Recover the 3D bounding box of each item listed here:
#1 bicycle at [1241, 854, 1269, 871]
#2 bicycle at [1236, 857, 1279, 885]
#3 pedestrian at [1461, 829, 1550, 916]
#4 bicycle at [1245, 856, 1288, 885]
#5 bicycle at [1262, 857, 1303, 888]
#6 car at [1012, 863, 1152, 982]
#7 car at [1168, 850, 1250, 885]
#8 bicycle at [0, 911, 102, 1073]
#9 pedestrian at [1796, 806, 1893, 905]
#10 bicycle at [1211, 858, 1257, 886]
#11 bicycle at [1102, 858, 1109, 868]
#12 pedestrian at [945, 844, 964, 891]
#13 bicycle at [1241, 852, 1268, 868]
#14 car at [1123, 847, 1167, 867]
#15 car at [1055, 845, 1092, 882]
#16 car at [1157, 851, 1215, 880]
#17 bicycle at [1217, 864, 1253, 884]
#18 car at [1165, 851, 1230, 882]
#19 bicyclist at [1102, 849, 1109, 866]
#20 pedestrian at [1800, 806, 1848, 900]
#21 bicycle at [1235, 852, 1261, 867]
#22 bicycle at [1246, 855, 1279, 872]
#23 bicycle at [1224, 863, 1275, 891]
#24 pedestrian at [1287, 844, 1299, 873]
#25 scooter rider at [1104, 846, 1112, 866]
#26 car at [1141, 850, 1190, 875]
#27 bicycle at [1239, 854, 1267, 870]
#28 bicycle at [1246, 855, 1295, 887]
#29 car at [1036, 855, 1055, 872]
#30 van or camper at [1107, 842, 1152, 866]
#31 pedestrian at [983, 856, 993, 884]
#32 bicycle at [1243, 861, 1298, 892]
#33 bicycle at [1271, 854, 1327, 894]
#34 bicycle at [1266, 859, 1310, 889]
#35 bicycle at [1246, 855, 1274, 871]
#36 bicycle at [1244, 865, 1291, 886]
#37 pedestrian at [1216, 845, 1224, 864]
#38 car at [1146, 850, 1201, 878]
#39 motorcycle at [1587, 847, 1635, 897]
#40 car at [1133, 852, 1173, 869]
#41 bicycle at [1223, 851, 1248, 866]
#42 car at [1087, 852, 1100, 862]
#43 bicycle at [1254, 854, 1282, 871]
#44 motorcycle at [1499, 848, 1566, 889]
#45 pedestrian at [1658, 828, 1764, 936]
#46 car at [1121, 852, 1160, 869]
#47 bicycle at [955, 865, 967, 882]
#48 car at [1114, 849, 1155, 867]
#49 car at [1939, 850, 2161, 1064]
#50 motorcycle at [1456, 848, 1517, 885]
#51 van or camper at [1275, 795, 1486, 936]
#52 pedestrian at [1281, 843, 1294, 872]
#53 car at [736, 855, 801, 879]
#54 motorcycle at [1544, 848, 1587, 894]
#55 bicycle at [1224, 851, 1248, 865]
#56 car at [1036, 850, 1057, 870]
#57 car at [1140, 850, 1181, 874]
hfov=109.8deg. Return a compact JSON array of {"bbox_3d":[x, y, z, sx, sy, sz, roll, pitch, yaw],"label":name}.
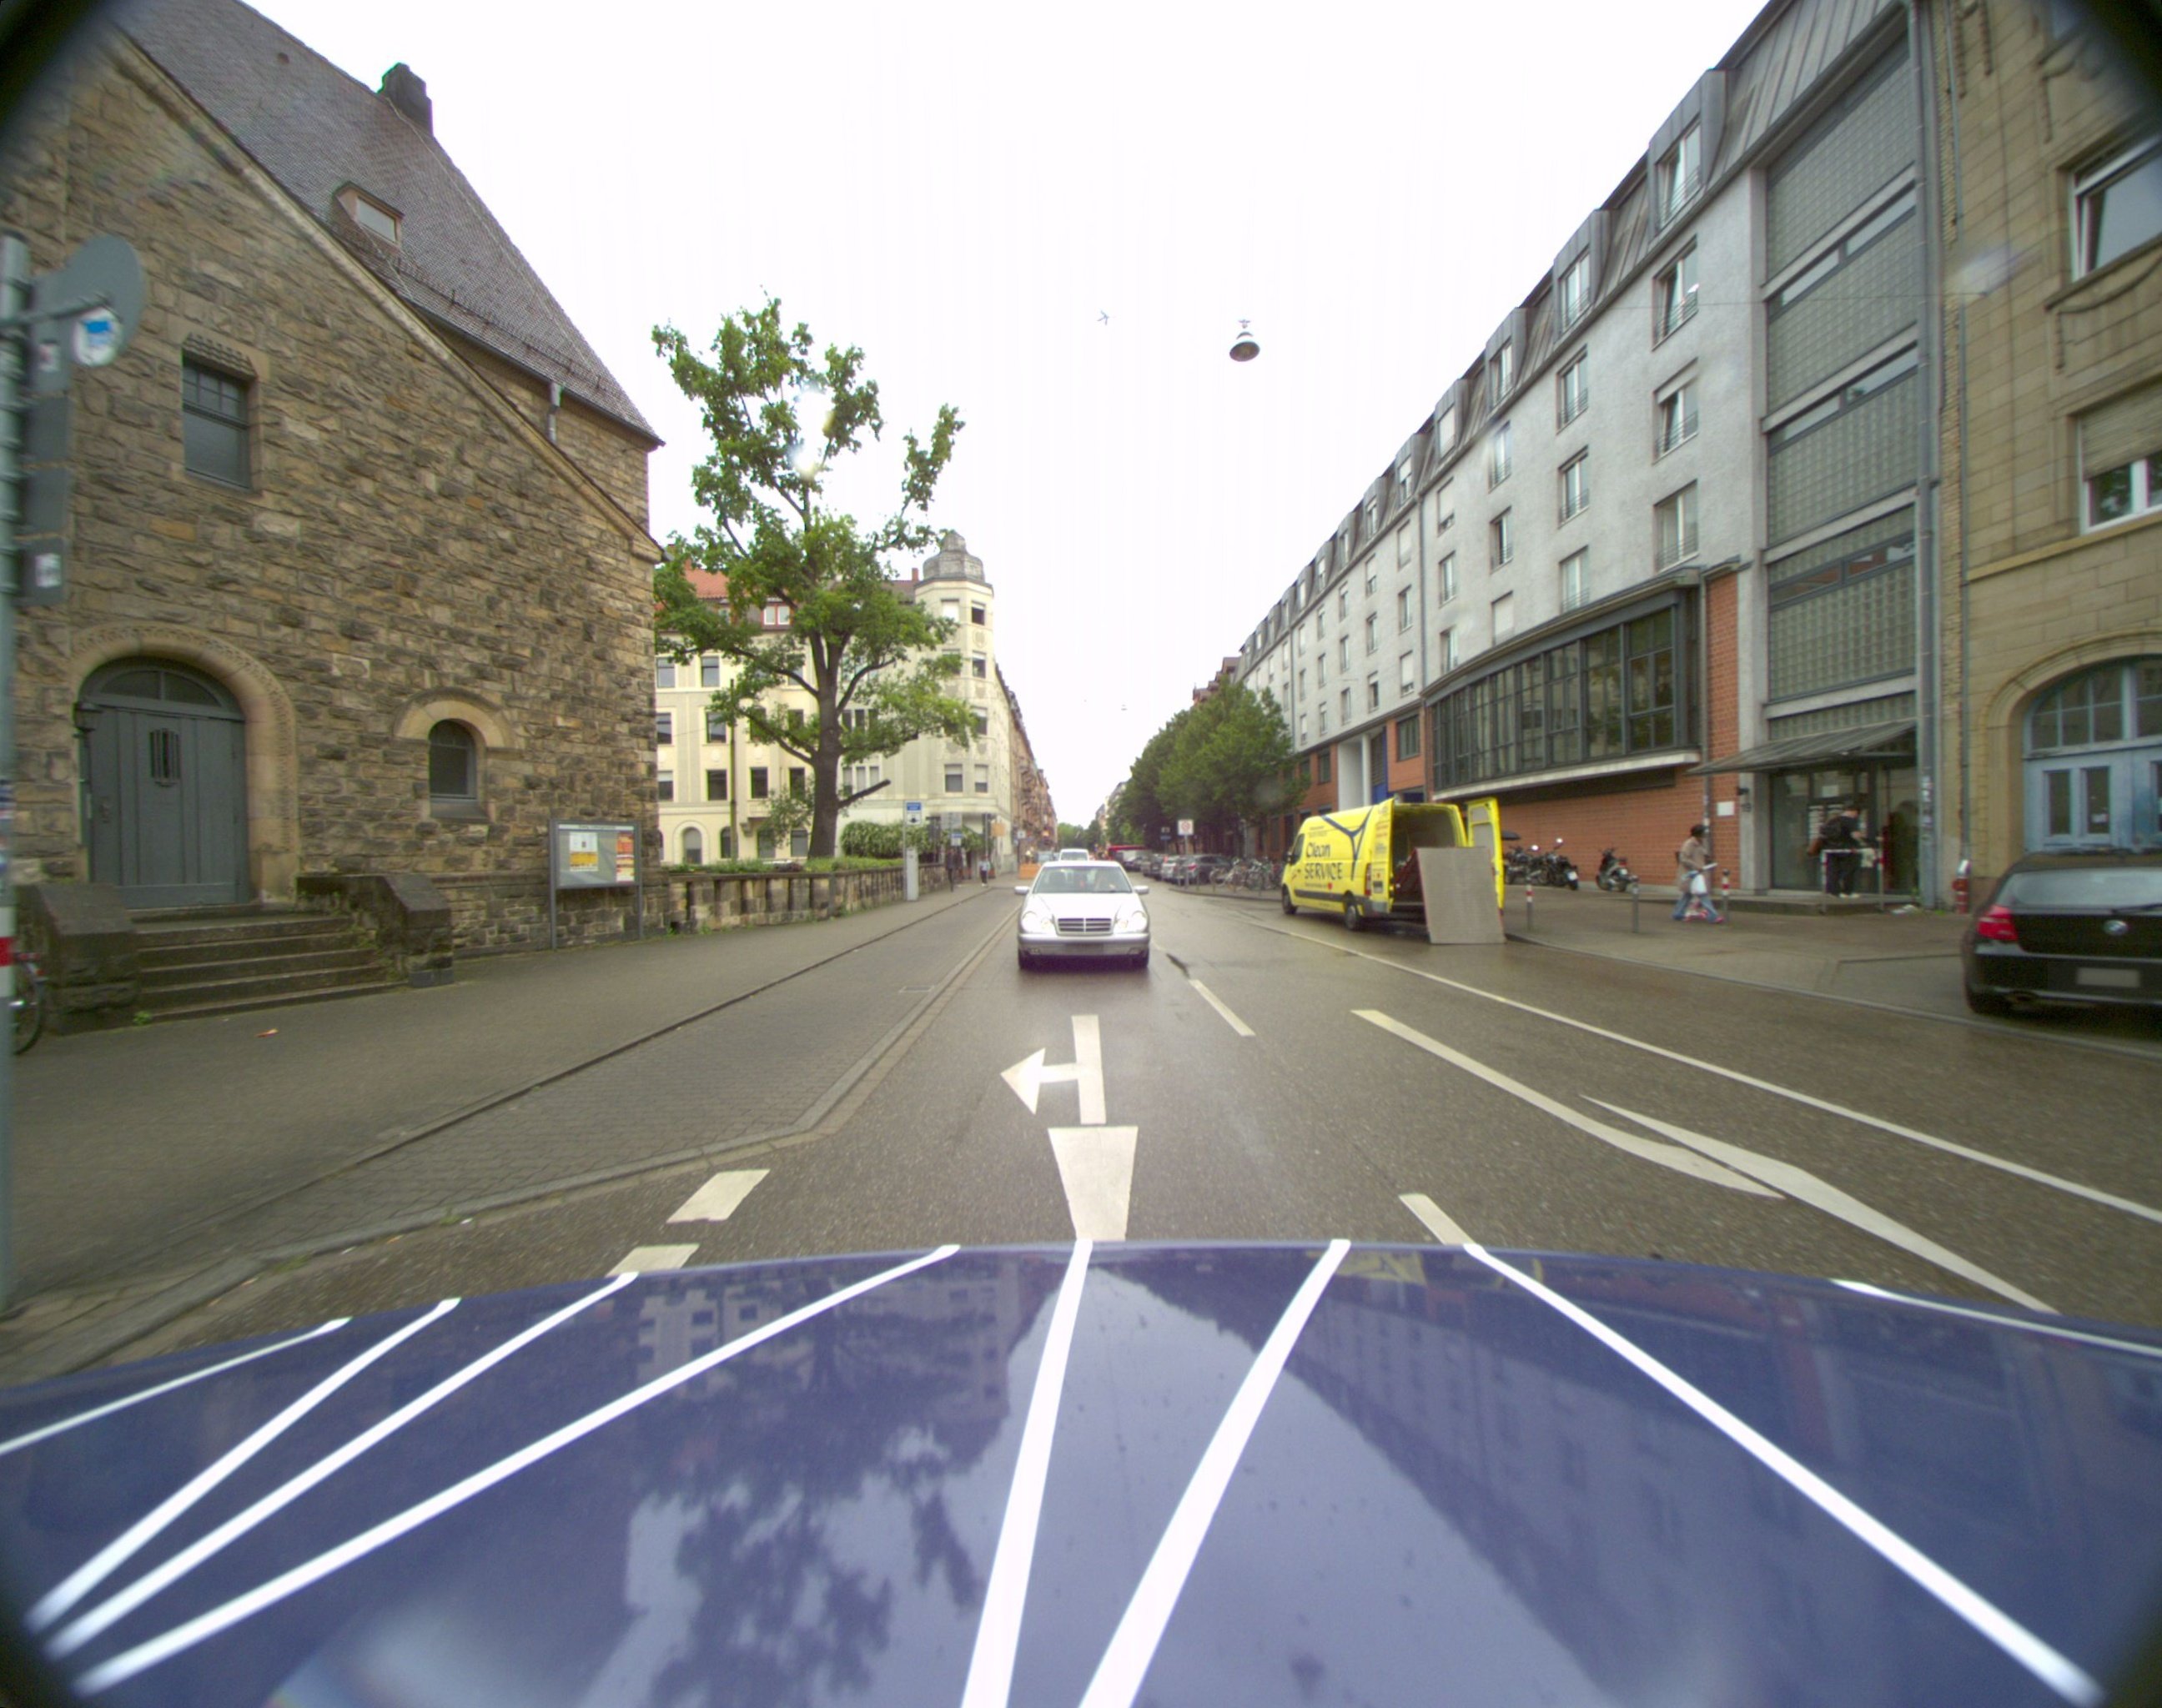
[{"bbox_3d":[10.668,0.518,46.551,1.590,0.979,0.445,-1,1,-8],"label":"bicycle"},{"bbox_3d":[7.374,0.717,31.765,1.610,1.099,0.520,-2,1,-4],"label":"bicycle"},{"bbox_3d":[9.510,0.396,17.085,1.353,1.835,1.061,-2,1,0],"label":"pedestrian"},{"bbox_3d":[7.582,0.677,31.122,1.611,1.099,0.519,-2,1,-13],"label":"bicycle"},{"bbox_3d":[7.675,0.704,29.018,1.461,1.096,0.462,-2,1,14],"label":"bicycle"},{"bbox_3d":[0.018,0.892,11.667,1.764,1.420,4.000,-1,0,0],"label":"car"},{"bbox_3d":[6.136,0.624,36.387,3.629,1.494,1.736,-2,1,-31],"label":"car"},{"bbox_3d":[-8.407,0.978,5.718,1.987,1.048,0.513,1,2,14],"label":"bicycle"},{"bbox_3d":[13.731,0.022,13.683,1.008,1.718,0.787,-1,1,-9],"label":"pedestrian"},{"bbox_3d":[6.509,0.771,32.304,1.812,1.099,0.472,-3,1,-4],"label":"bicycle"},{"bbox_3d":[2.217,0.830,68.902,0.536,0.879,1.780,-1,0,-2],"label":"bicycle"},{"bbox_3d":[-5.093,0.542,30.728,0.646,1.862,0.693,0,1,0],"label":"pedestrian"},{"bbox_3d":[10.924,0.379,47.962,1.590,0.979,0.445,-1,1,-8],"label":"bicycle"},{"bbox_3d":[6.282,0.273,74.488,4.338,1.884,1.685,0,1,-41],"label":"car"},{"bbox_3d":[-0.374,0.487,43.249,1.998,2.002,4.000,-1,0,1],"label":"car"},{"bbox_3d":[5.832,0.622,41.923,3.084,1.494,1.448,-2,0,-40],"label":"car"},{"bbox_3d":[6.765,0.880,33.340,1.473,0.800,0.497,-2,1,3],"label":"bicycle"},{"bbox_3d":[6.017,0.627,39.314,3.083,1.494,1.449,-2,0,-31],"label":"car"},{"bbox_3d":[2.214,0.287,68.643,0.536,1.521,1.134,-1,1,-2],"label":"bicyclist"},{"bbox_3d":[14.056,-0.021,14.380,0.474,1.738,0.607,0,1,26],"label":"pedestrian"},{"bbox_3d":[10.810,0.362,49.127,1.590,0.979,0.465,-1,1,-8],"label":"bicycle"},{"bbox_3d":[10.744,0.544,44.941,1.851,0.979,0.445,-1,1,-8],"label":"bicycle"},{"bbox_3d":[6.331,0.858,28.578,1.800,0.987,0.520,-2,1,-2],"label":"bicycle"},{"bbox_3d":[11.724,0.260,41.984,0.513,1.601,0.426,0,1,28],"label":"pedestrian"},{"bbox_3d":[2.617,0.191,73.494,0.712,1.924,0.503,0,1,-2],"label":"scooter rider"},{"bbox_3d":[5.610,0.559,50.548,2.985,1.546,1.369,-2,0,-29],"label":"car"},{"bbox_3d":[10.712,0.503,47.343,1.590,0.979,0.445,-1,1,-8],"label":"bicycle"},{"bbox_3d":[7.460,0.651,29.875,1.815,1.187,0.519,-2,1,-13],"label":"bicycle"},{"bbox_3d":[-2.940,0.786,63.941,1.447,1.348,3.204,0,0,0],"label":"car"},{"bbox_3d":[5.336,0.028,83.984,4.604,2.597,1.999,0,1,-27],"label":"van or camper"},{"bbox_3d":[-4.940,0.850,40.213,0.482,1.452,0.392,0,1,0],"label":"pedestrian"},{"bbox_3d":[6.909,0.814,27.740,1.858,1.067,0.609,-2,1,6],"label":"bicycle"},{"bbox_3d":[7.545,0.666,26.222,1.922,1.209,0.768,-5,3,-35],"label":"bicycle"},{"bbox_3d":[7.687,0.752,28.243,1.462,1.058,0.418,-2,1,4],"label":"bicycle"},{"bbox_3d":[10.715,0.536,45.428,1.590,0.979,0.445,-1,1,-8],"label":"bicycle"},{"bbox_3d":[7.471,0.844,30.464,1.773,0.757,0.456,-2,1,-13],"label":"bicycle"},{"bbox_3d":[11.540,0.047,63.040,0.571,1.588,0.533,-1,1,1],"label":"pedestrian"},{"bbox_3d":[5.478,0.578,44.808,3.084,1.543,1.448,-2,0,-40],"label":"car"},{"bbox_3d":[13.481,0.436,19.357,0.524,1.174,1.760,-2,0,19],"label":"motorcycle"},{"bbox_3d":[6.415,0.557,67.741,1.685,1.482,3.799,0,0,40],"label":"car"},{"bbox_3d":[10.462,0.329,51.403,1.590,0.979,0.465,-1,1,-8],"label":"bicycle"},{"bbox_3d":[1.768,0.410,106.155,1.651,1.301,3.311,0,0,-2],"label":"car"},{"bbox_3d":[11.340,0.525,45.971,1.590,0.979,0.445,-1,1,-8],"label":"bicycle"},{"bbox_3d":[13.628,0.419,23.004,0.651,1.150,2.205,-2,0,-2],"label":"motorcycle"},{"bbox_3d":[10.697,0.452,12.945,0.787,1.718,1.172,-2,1,-1],"label":"pedestrian"},{"bbox_3d":[5.481,0.578,70.258,1.685,1.482,3.799,0,0,40],"label":"car"},{"bbox_3d":[-7.083,1.163,45.026,0.390,0.888,2.023,0,3,0],"label":"bicycle"},{"bbox_3d":[5.499,0.369,78.002,4.338,1.822,1.571,0,1,-41],"label":"car"},{"bbox_3d":[9.426,0.732,6.570,4.050,1.503,1.794,-1,1,-29],"label":"car"},{"bbox_3d":[13.472,0.389,25.314,0.838,1.150,2.273,-2,0,1],"label":"motorcycle"},{"bbox_3d":[6.285,0.202,16.970,2.202,2.596,5.940,0,0,-2],"label":"van or camper"},{"bbox_3d":[11.678,0.185,42.933,0.604,1.601,0.373,0,1,39],"label":"pedestrian"},{"bbox_3d":[-18.584,0.791,45.296,3.270,1.401,1.448,0,1,3],"label":"car"},{"bbox_3d":[13.257,0.441,20.829,0.524,1.174,2.007,-2,0,19],"label":"motorcycle"},{"bbox_3d":[10.903,0.290,53.432,1.590,0.979,0.465,-1,1,-8],"label":"bicycle"},{"bbox_3d":[-3.120,0.528,68.857,1.726,1.794,3.462,0,0,0],"label":"car"},{"bbox_3d":[5.589,0.542,53.473,2.685,1.546,1.148,-2,1,-29],"label":"car"}]
